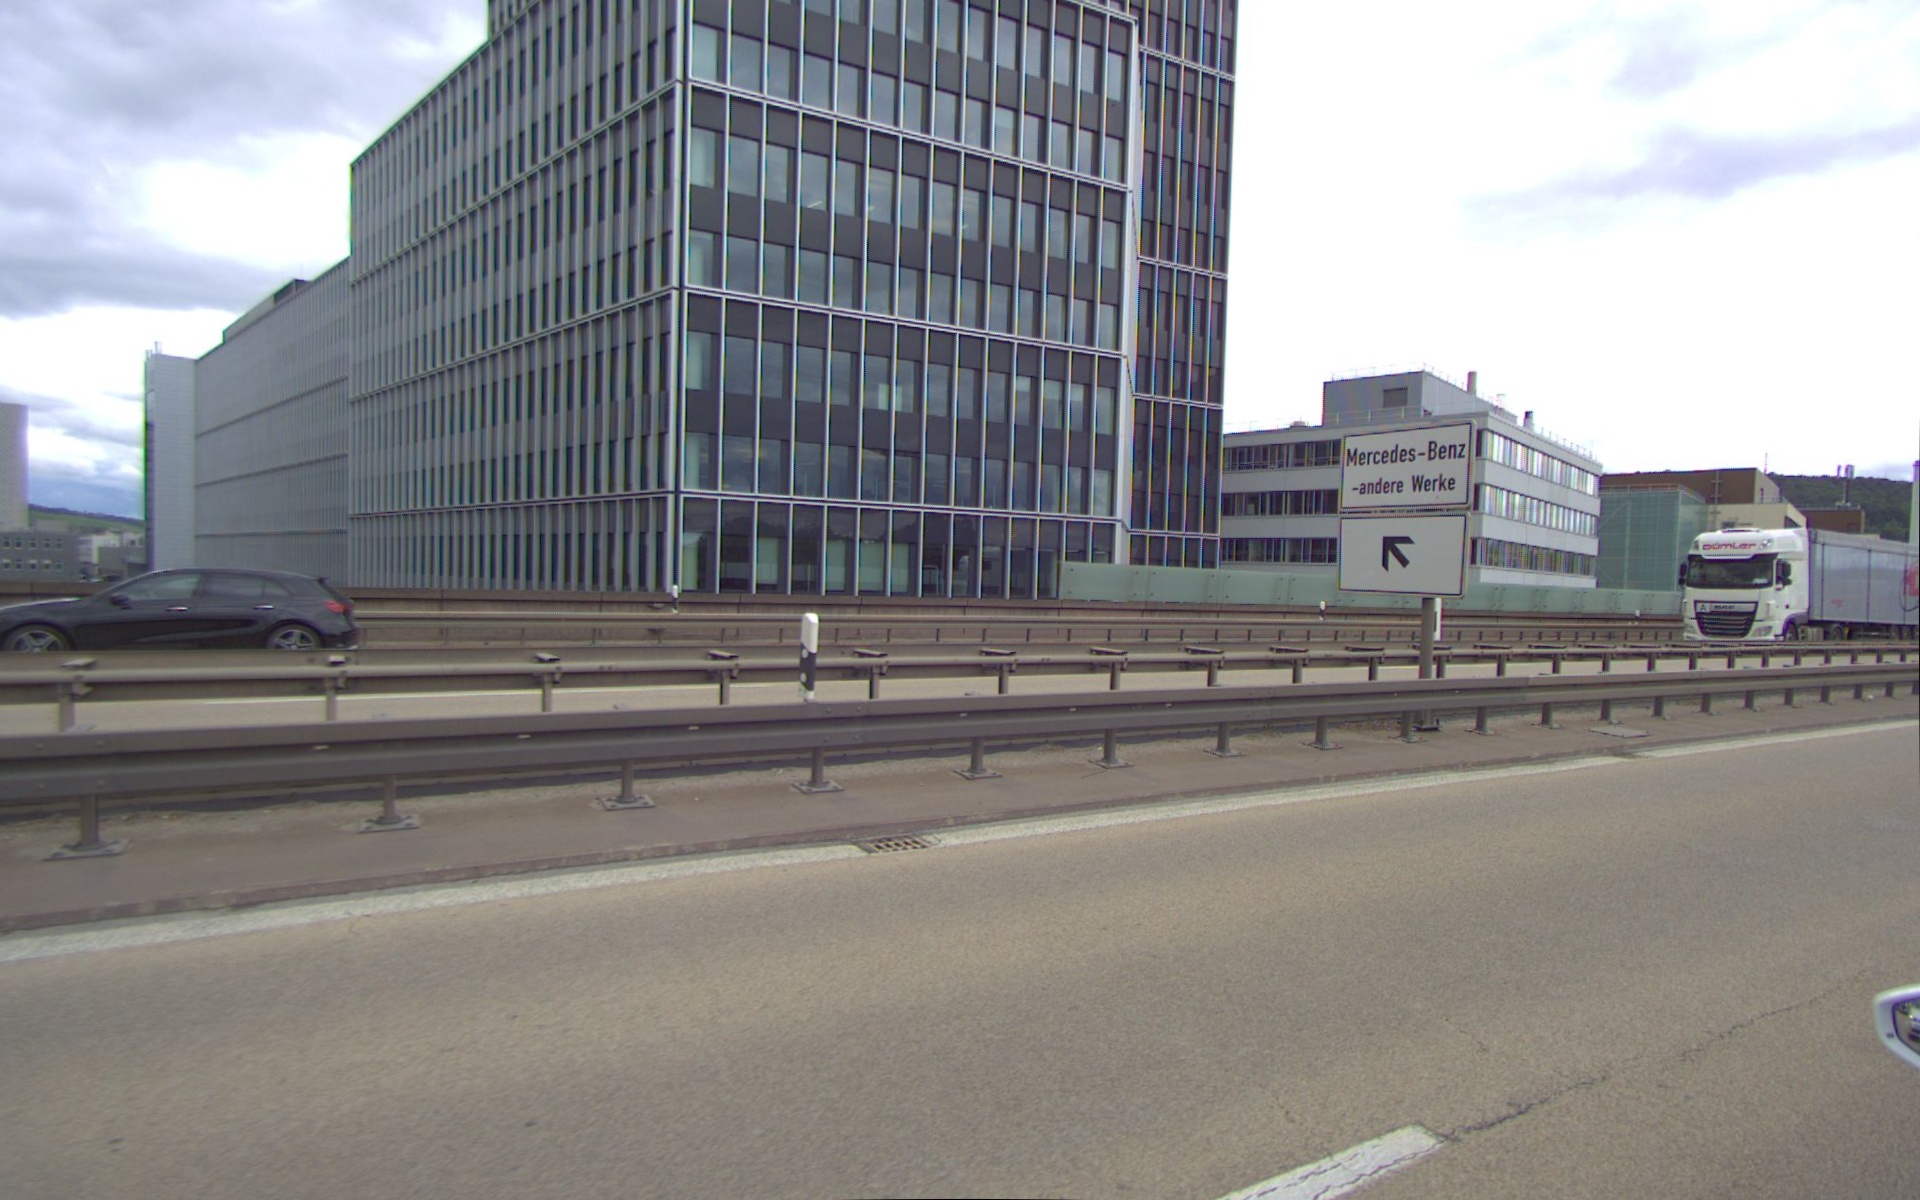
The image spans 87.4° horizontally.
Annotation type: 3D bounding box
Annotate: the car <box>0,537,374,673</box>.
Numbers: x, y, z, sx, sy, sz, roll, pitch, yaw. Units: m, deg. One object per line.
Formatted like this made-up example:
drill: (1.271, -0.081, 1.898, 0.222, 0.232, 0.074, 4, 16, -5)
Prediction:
car: (-10.717, 0.092, 14.022, 4.309, 1.672, 1.675, 2, 1, -30)

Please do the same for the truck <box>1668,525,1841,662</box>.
truck: (26.119, -0.210, 32.978, 5.584, 4.134, 2.756, 0, 1, -33)

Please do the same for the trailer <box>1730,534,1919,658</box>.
trailer: (32.828, -0.004, 37.260, 11.754, 4.040, 2.829, 2, 0, -32)
